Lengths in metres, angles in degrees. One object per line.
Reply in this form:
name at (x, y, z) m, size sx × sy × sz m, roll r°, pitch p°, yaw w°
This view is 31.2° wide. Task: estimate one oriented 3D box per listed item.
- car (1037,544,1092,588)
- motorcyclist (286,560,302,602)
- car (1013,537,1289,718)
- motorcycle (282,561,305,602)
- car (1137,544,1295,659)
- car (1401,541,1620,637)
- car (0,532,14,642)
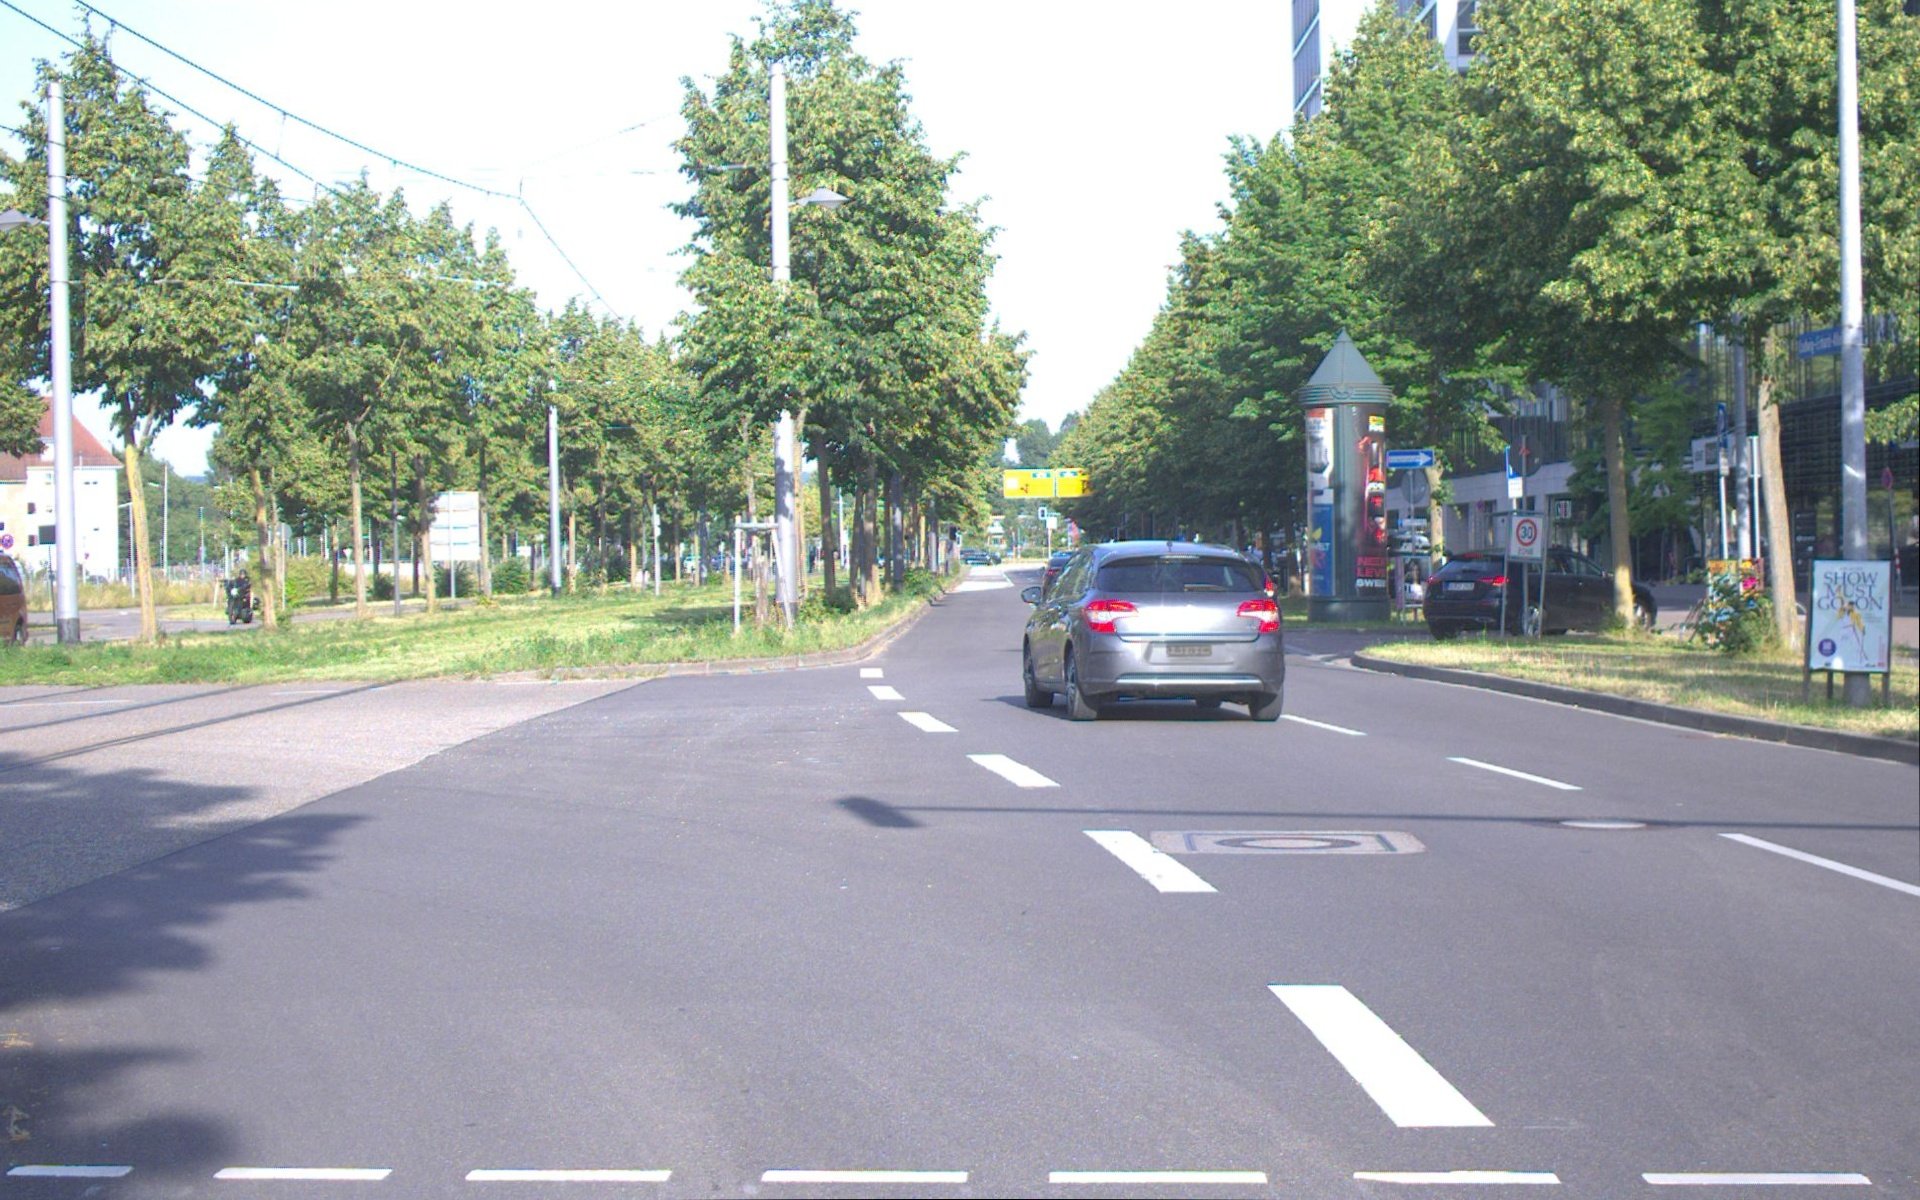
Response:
car at (3.684, -1.212, 121.514) m, size 1.860 × 1.519 × 3.785 m, roll 1°, pitch 1°, yaw 1°
motorcyclist at (-24.757, -0.702, 127.756) m, size 0.485 × 1.559 × 0.455 m, roll 1°, pitch 0°, yaw -1°
car at (1.553, 0.202, 29.350) m, size 1.694 × 1.419 × 4.040 m, roll 1°, pitch 1°, yaw -6°
motorcycle at (-24.745, -0.690, 127.619) m, size 0.473 × 1.525 × 1.993 m, roll 1°, pitch 0°, yaw -1°
car at (3.374, -0.012, 45.918) m, size 1.560 × 1.419 × 3.908 m, roll 1°, pitch 1°, yaw -4°
car at (8.594, -0.179, 53.431) m, size 1.778 × 1.419 × 3.953 m, roll 1°, pitch 1°, yaw 35°
car at (-16.289, -0.211, 54.527) m, size 1.684 × 1.769 × 3.883 m, roll 1°, pitch 1°, yaw -3°
